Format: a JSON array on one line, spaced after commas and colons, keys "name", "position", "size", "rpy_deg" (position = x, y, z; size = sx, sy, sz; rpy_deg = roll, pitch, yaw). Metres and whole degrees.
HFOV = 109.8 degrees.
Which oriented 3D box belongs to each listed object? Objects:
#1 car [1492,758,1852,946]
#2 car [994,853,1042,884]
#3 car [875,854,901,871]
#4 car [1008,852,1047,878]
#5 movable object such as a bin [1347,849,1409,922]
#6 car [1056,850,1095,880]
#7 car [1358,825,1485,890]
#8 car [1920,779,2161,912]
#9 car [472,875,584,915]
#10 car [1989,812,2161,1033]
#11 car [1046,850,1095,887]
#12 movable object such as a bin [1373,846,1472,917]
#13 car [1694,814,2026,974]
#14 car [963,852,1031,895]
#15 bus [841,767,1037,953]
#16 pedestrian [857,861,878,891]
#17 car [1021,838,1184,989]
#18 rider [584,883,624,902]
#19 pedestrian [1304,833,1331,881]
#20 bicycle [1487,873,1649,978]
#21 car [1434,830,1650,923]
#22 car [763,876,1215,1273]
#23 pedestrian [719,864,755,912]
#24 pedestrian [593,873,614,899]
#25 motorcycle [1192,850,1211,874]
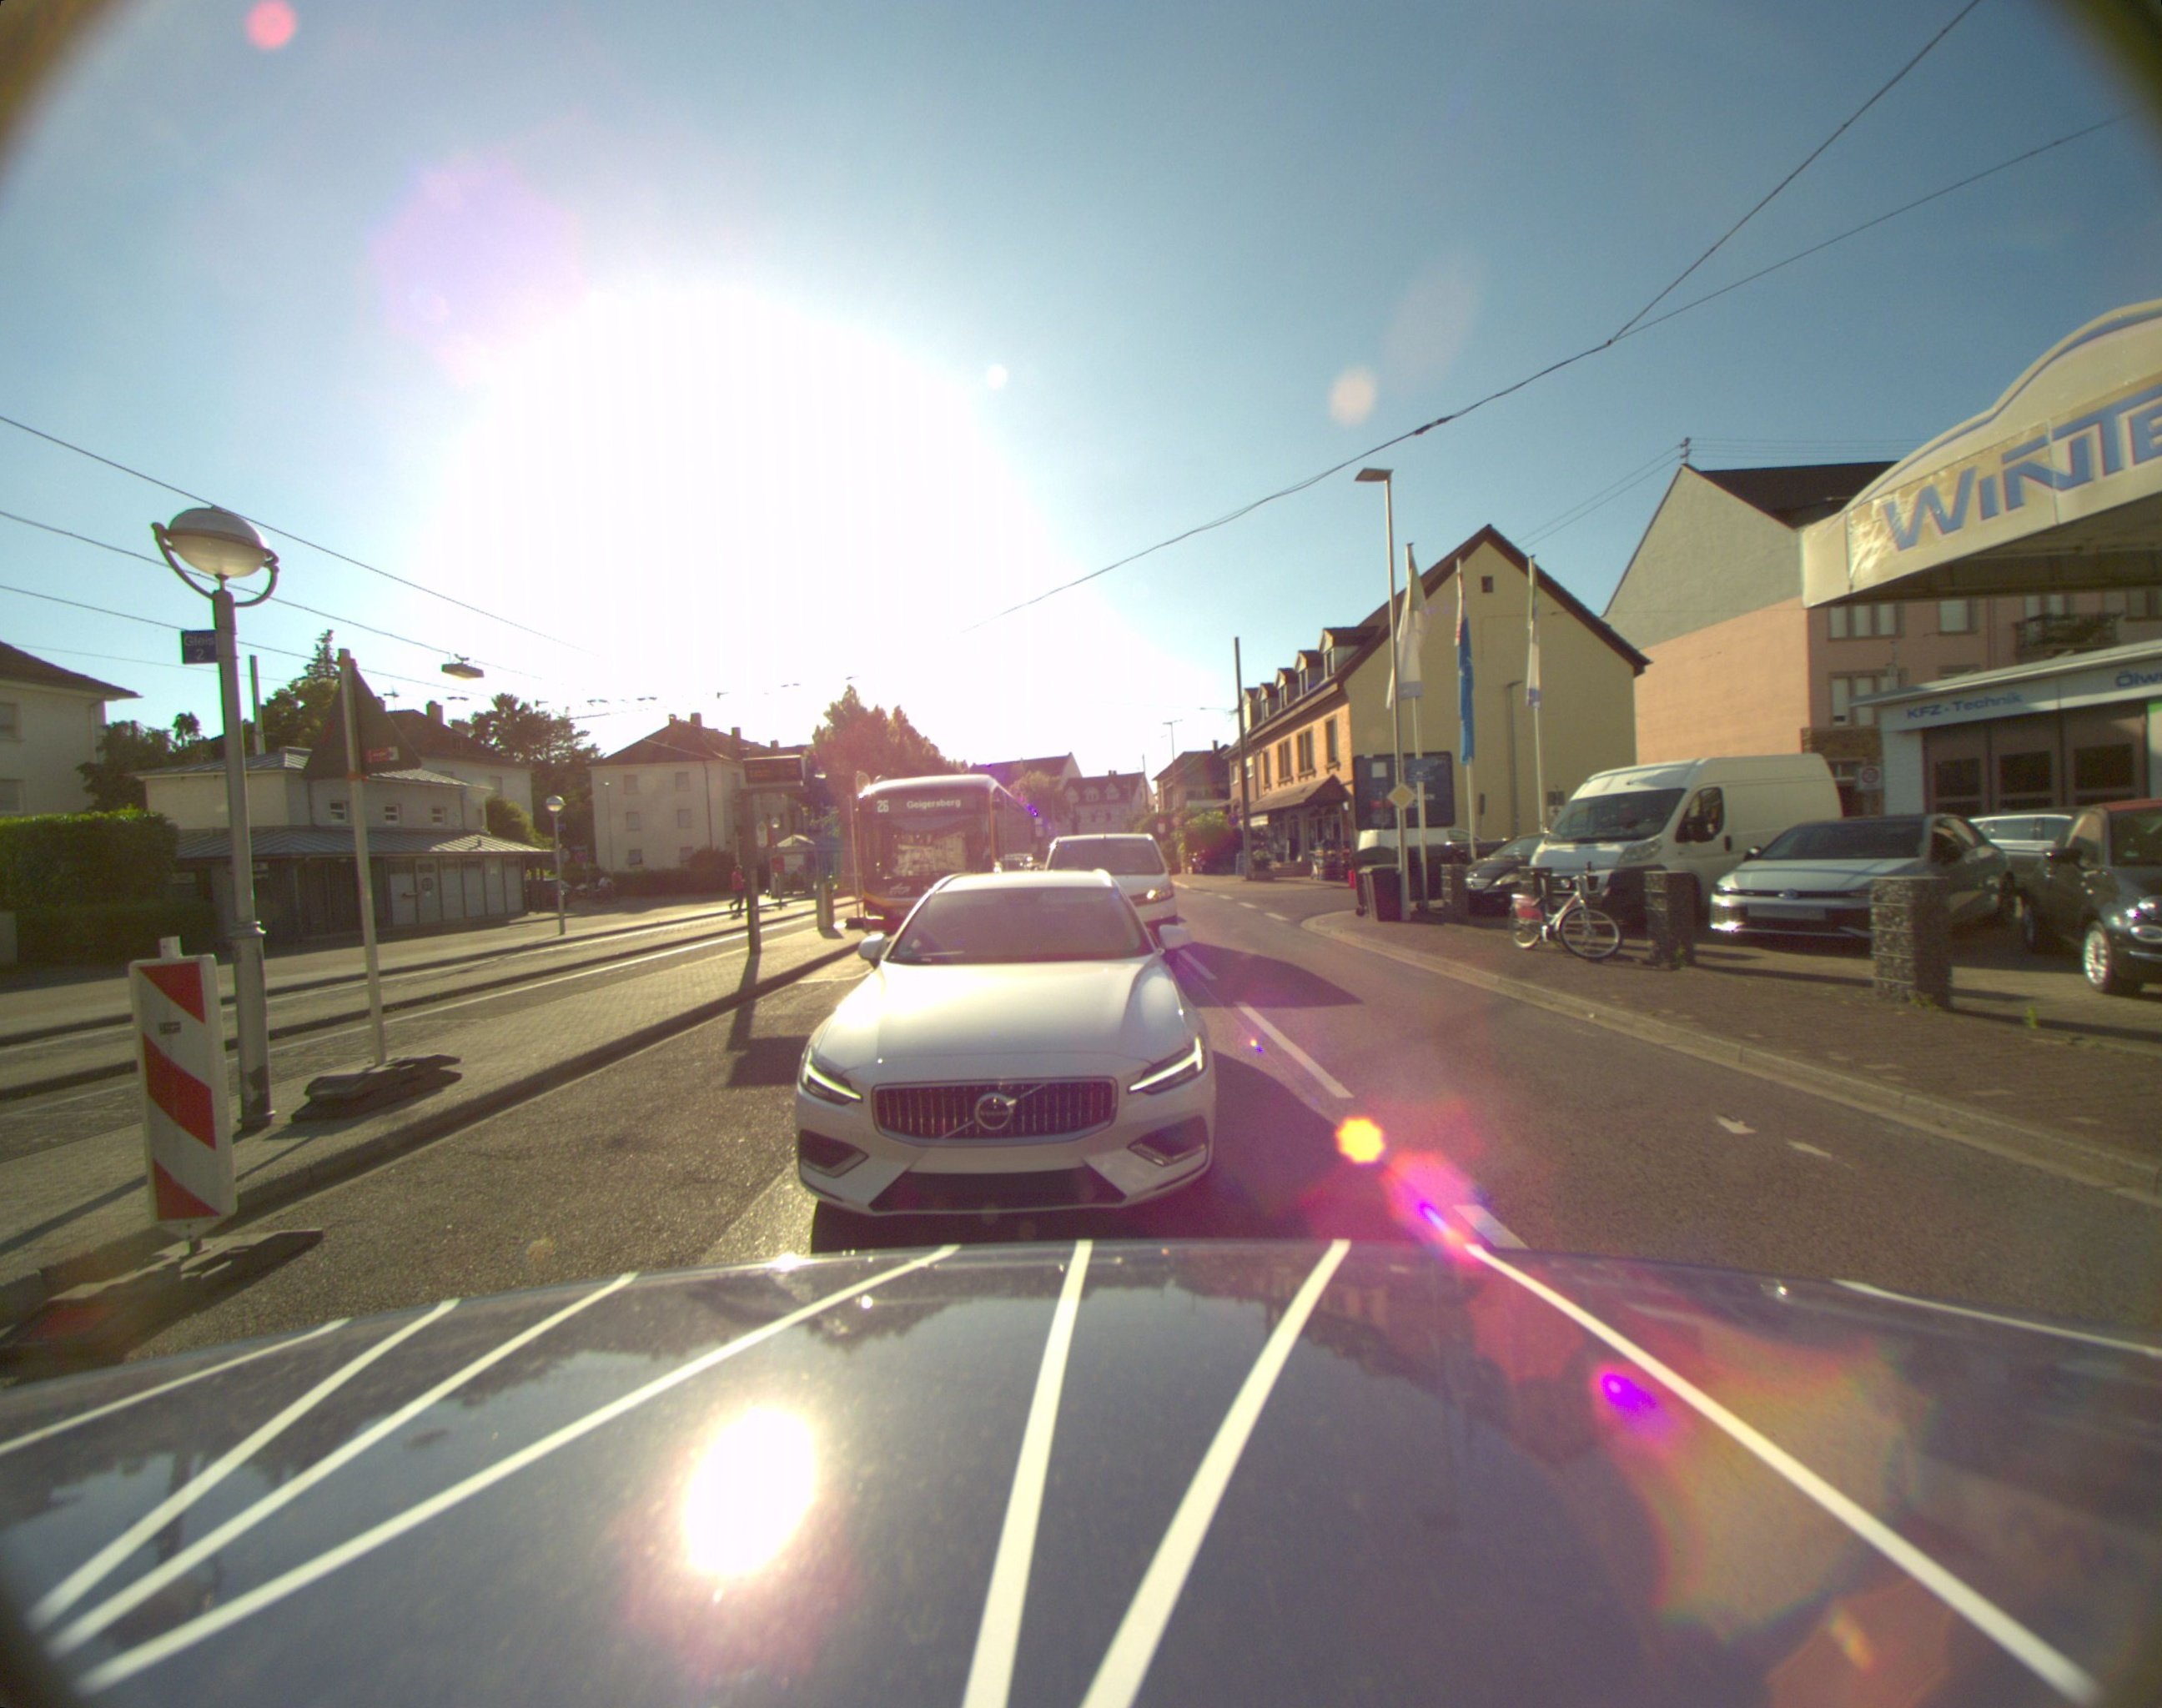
[{"name": "car", "position": [9.144, -0.134, 11.760], "size": [4.997, 2.440, 2.111], "rpy_deg": [-3, 1, -22]}, {"name": "car", "position": [-3.227, 0.705, 39.889], "size": [1.969, 1.450, 4.824], "rpy_deg": [-2, 0, 1]}, {"name": "car", "position": [-23.258, 1.018, 91.773], "size": [1.998, 1.853, 3.999], "rpy_deg": [-2, 1, 1]}, {"name": "car", "position": [-3.270, 0.631, 47.304], "size": [1.969, 1.450, 4.824], "rpy_deg": [-2, 0, 1]}, {"name": "movable object such as a bin", "position": [6.237, 0.641, 15.950], "size": [1.045, 1.456, 0.797], "rpy_deg": [-2, 1, 32]}, {"name": "car", "position": [-0.251, 0.566, 41.508], "size": [1.969, 1.450, 4.824], "rpy_deg": [-2, 0, 1]}, {"name": "car", "position": [11.566, 0.097, 25.922], "size": [3.672, 2.002, 1.451], "rpy_deg": [-2, 1, -3]}, {"name": "car", "position": [16.481, -0.173, 11.987], "size": [1.742, 1.933, 4.257], "rpy_deg": [-3, 1, -1]}, {"name": "car", "position": [-27.686, 2.047, 38.140], "size": [4.052, 1.663, 2.000], "rpy_deg": [-4, 1, 2]}, {"name": "car", "position": [9.077, 0.412, 6.165], "size": [1.590, 1.488, 3.442], "rpy_deg": [-2, 1, 40]}, {"name": "car", "position": [-0.390, 0.583, 33.261], "size": [1.969, 1.450, 4.824], "rpy_deg": [-2, 0, 1]}, {"name": "movable object such as a bin", "position": [7.594, 0.578, 16.914], "size": [1.798, 1.456, 1.046], "rpy_deg": [-3, 1, -25]}, {"name": "car", "position": [9.491, 0.359, 9.211], "size": [4.036, 1.488, 1.739], "rpy_deg": [-3, 1, -28]}, {"name": "car", "position": [-3.150, 0.705, 29.500], "size": [1.969, 1.450, 4.824], "rpy_deg": [-2, 0, 1]}, {"name": "bus", "position": [-2.918, 0.094, 19.833], "size": [2.748, 3.284, 12.030], "rpy_deg": [-2, 0, 0]}, {"name": "pedestrian", "position": [-11.498, 1.177, 40.884], "size": [0.826, 1.601, 0.840], "rpy_deg": [-3, 1, -34]}, {"name": "car", "position": [0.304, 0.733, 12.010], "size": [1.969, 1.816, 5.033], "rpy_deg": [-2, 0, 1]}, {"name": "rider", "position": [-25.996, 2.097, 41.402], "size": [1.855, 0.986, 0.580], "rpy_deg": [-2, 1, 7]}, {"name": "pedestrian", "position": [9.236, 0.106, 29.711], "size": [0.765, 1.842, 0.824], "rpy_deg": [-1, 1, 32]}, {"name": "bicycle", "position": [5.882, 0.814, 9.313], "size": [0.725, 1.080, 1.791], "rpy_deg": [-3, 1, -3]}, {"name": "car", "position": [8.968, 0.374, 14.747], "size": [4.036, 1.469, 1.739], "rpy_deg": [-3, 1, -28]}, {"name": "car", "position": [-0.352, 0.981, 5.256], "size": [1.821, 1.446, 4.217], "rpy_deg": [-2, 0, 1]}, {"name": "pedestrian", "position": [-12.537, 1.226, 27.696], "size": [0.842, 1.708, 0.825], "rpy_deg": [-2, 1, 0]}, {"name": "pedestrian", "position": [-26.003, 1.747, 41.385], "size": [0.657, 1.373, 0.580], "rpy_deg": [-2, 1, 7]}, {"name": "motorcycle", "position": [6.355, 0.417, 40.119], "size": [0.708, 1.210, 2.186], "rpy_deg": [-2, 1, 3]}]
